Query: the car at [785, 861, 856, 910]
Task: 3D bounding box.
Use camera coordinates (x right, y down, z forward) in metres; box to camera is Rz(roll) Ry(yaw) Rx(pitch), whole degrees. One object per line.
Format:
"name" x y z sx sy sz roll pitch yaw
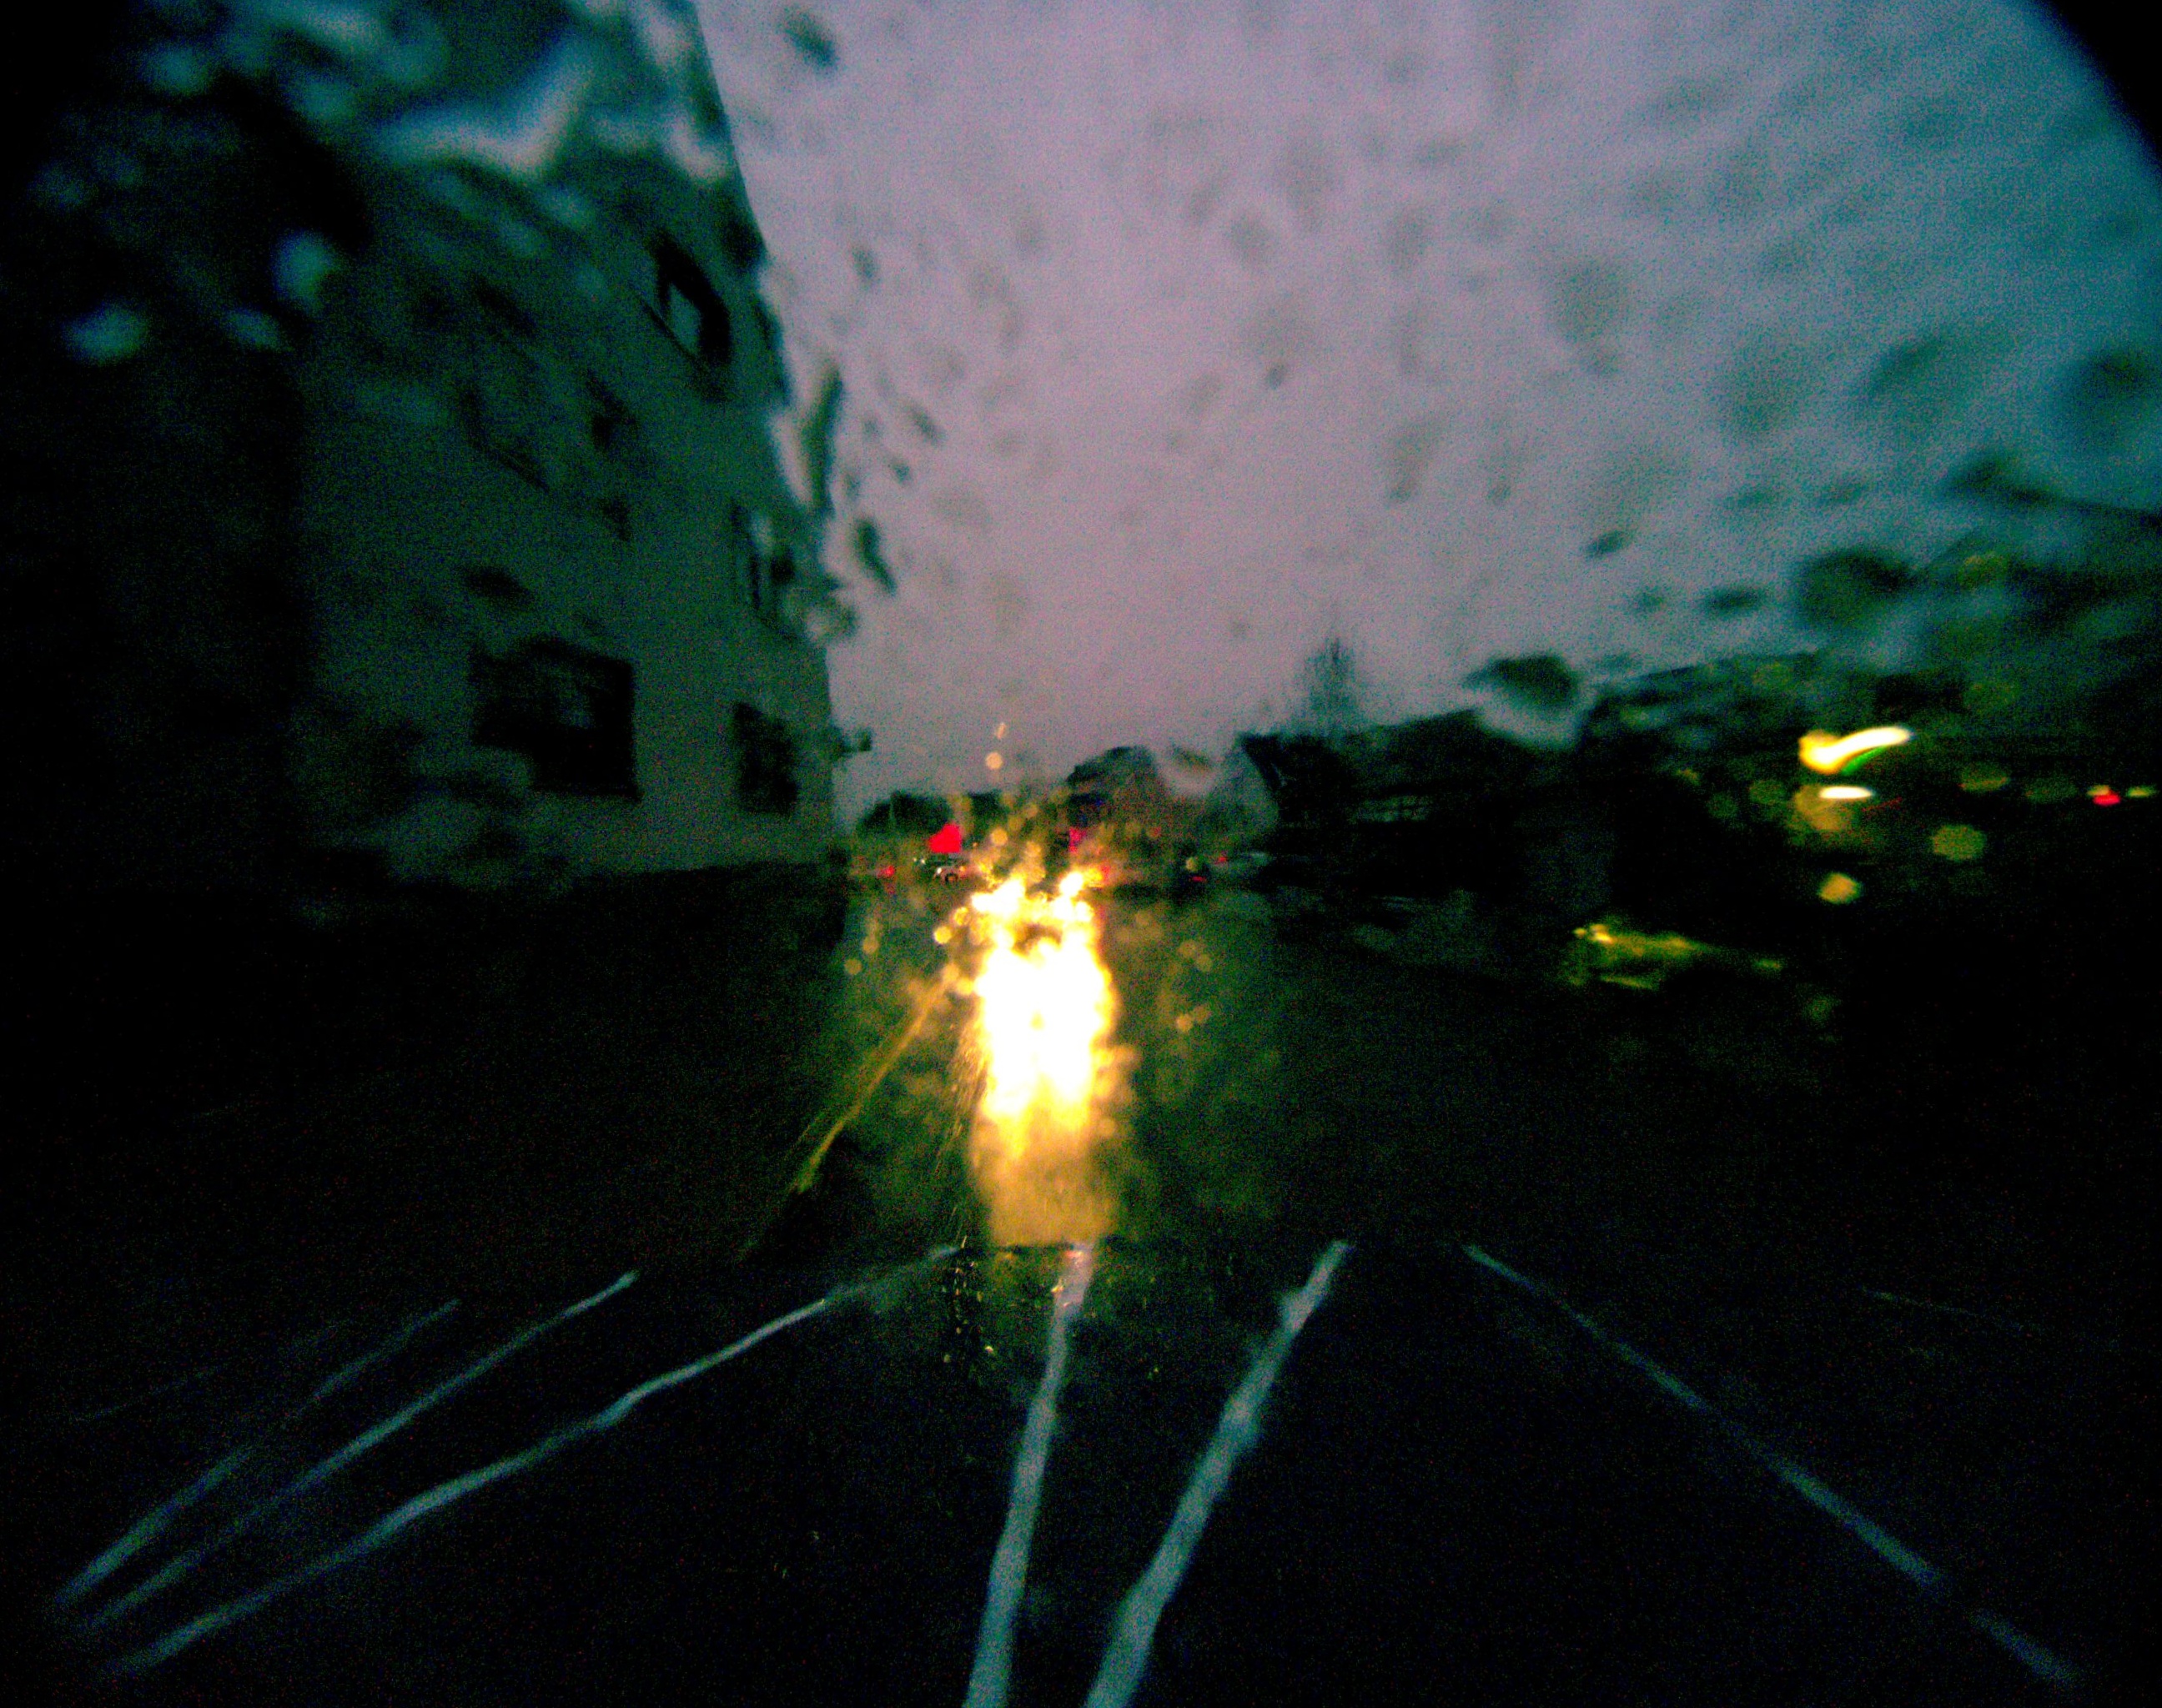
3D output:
"car" -8.955 1.009 25.955 1.742 1.552 3.655 0 -1 -28

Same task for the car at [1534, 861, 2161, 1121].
"car" 6.292 0.846 6.816 1.751 1.463 4.458 -2 0 0

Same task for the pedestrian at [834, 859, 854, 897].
"pedestrian" -10.839 1.086 34.758 0.716 1.689 0.802 0 0 -27

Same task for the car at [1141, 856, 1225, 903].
"car" 3.609 0.864 27.475 1.840 1.527 3.671 -2 0 -12

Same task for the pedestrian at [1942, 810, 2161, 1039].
"pedestrian" 8.579 0.574 6.706 0.755 1.856 1.061 -1 1 2

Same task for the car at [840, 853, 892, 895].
"car" -11.037 0.984 38.725 1.982 1.948 4.843 -1 0 -23

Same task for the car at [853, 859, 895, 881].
"car" -16.823 1.272 61.618 1.956 1.740 4.838 1 -1 -32

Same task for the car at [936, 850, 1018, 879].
"car" -7.726 0.782 56.487 5.782 1.934 1.988 -2 0 -16

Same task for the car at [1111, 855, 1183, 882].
"car" 3.791 0.816 43.919 4.069 1.451 1.758 -1 1 5

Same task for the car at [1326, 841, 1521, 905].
"car" 10.583 0.568 23.994 5.386 1.874 2.076 0 0 16

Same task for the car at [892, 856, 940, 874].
"car" -16.976 1.126 78.216 4.435 1.790 1.840 -1 0 -30

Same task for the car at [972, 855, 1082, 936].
"car" -1.361 0.876 18.487 2.271 1.633 5.063 -1 0 -6

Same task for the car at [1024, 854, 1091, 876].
"car" -1.839 0.878 58.615 4.774 1.625 1.997 1 -2 -20

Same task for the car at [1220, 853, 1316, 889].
"car" 8.326 0.743 34.124 4.107 1.573 1.722 0 0 10

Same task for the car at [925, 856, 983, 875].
"car" -11.679 1.080 70.075 4.888 1.673 1.996 -1 -1 -27

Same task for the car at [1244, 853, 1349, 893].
"car" 8.838 0.770 31.388 3.993 1.521 2.002 -1 0 14

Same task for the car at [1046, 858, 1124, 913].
"car" 0.042 1.118 28.727 2.148 1.850 4.738 -1 0 -10

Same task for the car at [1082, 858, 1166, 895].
"car" 1.826 0.965 33.857 1.913 1.524 4.247 -2 0 -26

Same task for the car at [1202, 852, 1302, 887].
"car" 8.259 0.731 37.018 4.649 1.644 1.989 0 1 10
